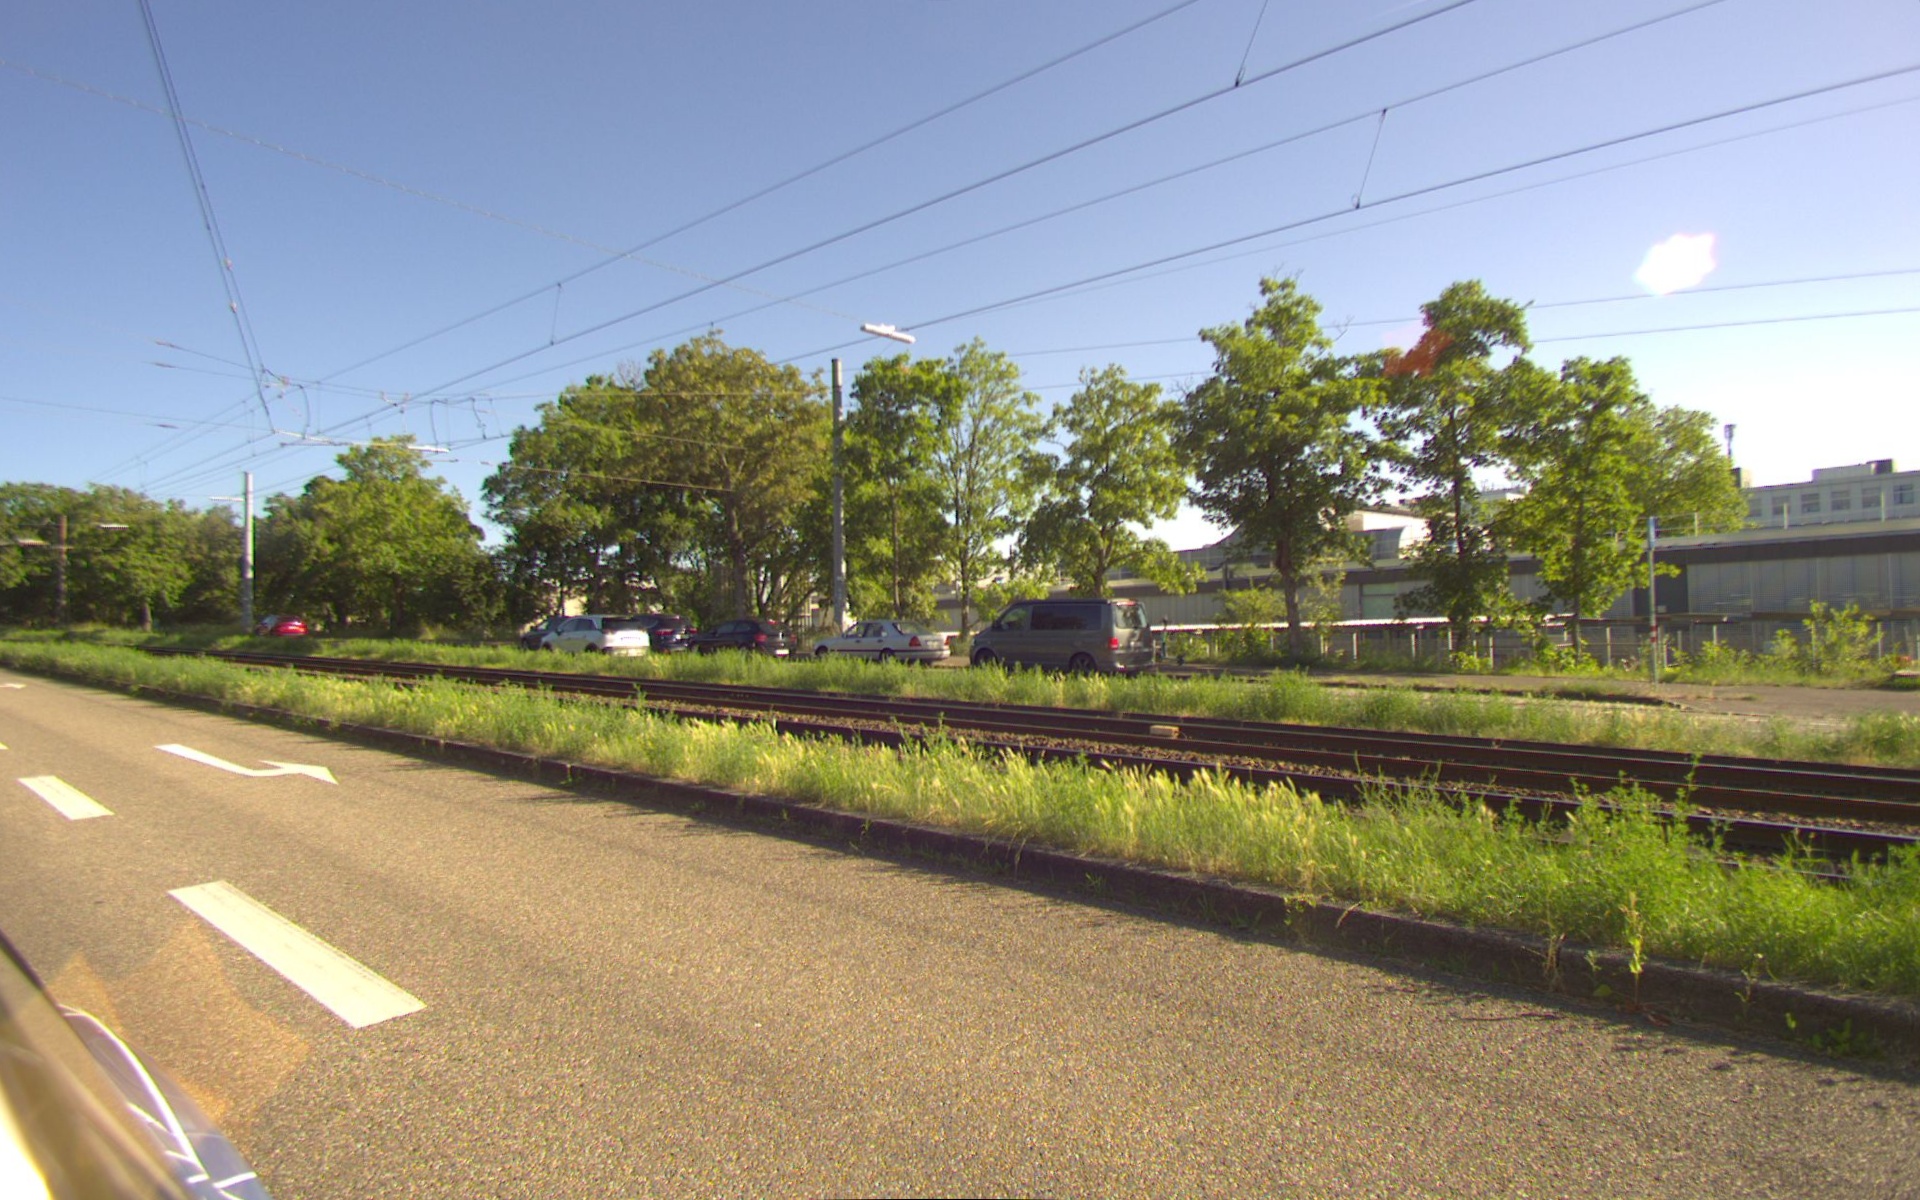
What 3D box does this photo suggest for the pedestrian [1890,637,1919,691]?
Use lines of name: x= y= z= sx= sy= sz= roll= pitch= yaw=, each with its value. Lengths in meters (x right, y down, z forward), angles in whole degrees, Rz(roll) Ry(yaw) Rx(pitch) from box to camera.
pedestrian: x=23.426 y=1.584 z=24.983 sx=0.435 sy=1.310 sz=0.441 roll=-1 pitch=-2 yaw=-1

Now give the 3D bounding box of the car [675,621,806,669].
car: x=-7.258 y=1.454 z=33.244 sx=4.486 sy=1.437 sz=1.935 roll=-2 pitch=-1 yaw=42

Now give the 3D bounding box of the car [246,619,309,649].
car: x=-42.496 y=2.105 z=62.976 sx=4.797 sy=1.746 sz=2.290 roll=-2 pitch=-1 yaw=43

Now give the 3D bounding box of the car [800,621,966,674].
car: x=-2.278 y=1.343 z=29.240 sx=4.612 sy=1.391 sz=2.103 roll=-2 pitch=-1 yaw=40

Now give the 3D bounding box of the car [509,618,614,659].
car: x=-16.287 y=1.551 z=41.266 sx=4.557 sy=1.575 sz=2.103 roll=-2 pitch=-1 yaw=41

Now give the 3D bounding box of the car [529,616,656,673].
car: x=-11.046 y=1.295 z=30.293 sx=4.155 sy=1.569 sz=1.835 roll=-2 pitch=-1 yaw=42

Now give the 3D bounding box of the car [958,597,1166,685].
car: x=2.418 y=0.976 z=24.834 sx=4.684 sy=1.949 sz=2.178 roll=-2 pitch=-1 yaw=42

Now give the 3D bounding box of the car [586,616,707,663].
car: x=-11.455 y=1.420 z=36.793 sx=4.614 sy=1.599 sz=2.102 roll=-2 pitch=-1 yaw=41
